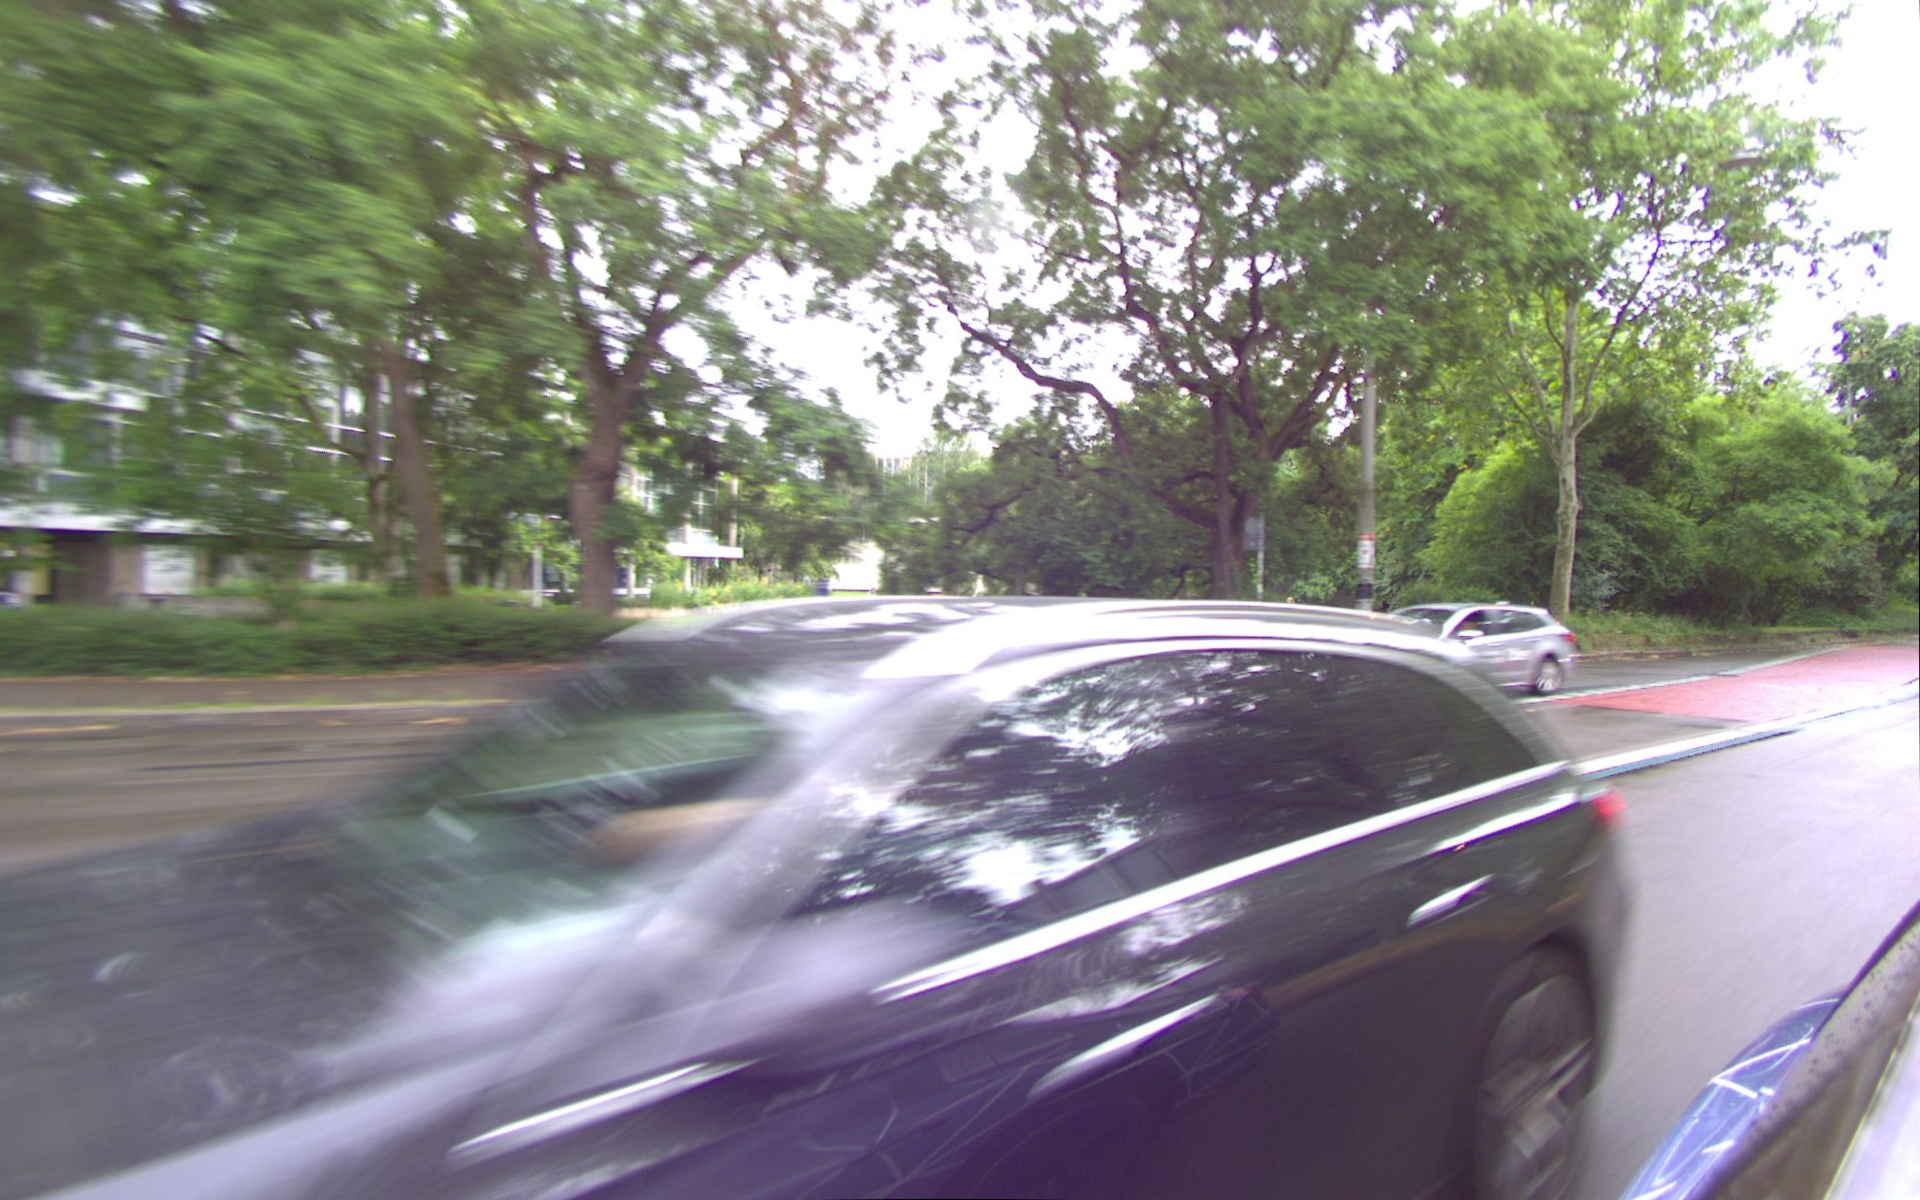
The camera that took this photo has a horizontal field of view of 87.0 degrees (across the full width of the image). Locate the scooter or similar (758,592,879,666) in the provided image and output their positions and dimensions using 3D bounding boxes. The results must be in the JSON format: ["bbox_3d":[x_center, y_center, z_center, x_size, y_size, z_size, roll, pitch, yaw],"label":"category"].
[{"bbox_3d":[-2.315,0.480,16.546,1.851,1.114,0.560,2,3,-19],"label":"scooter or similar"}]

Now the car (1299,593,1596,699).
[{"bbox_3d":[7.676,0.661,15.922,4.312,1.468,1.871,1,0,-25],"label":"car"}]

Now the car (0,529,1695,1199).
[{"bbox_3d":[-0.266,0.683,2.170,4.842,1.464,1.883,0,0,-40],"label":"car"}]
